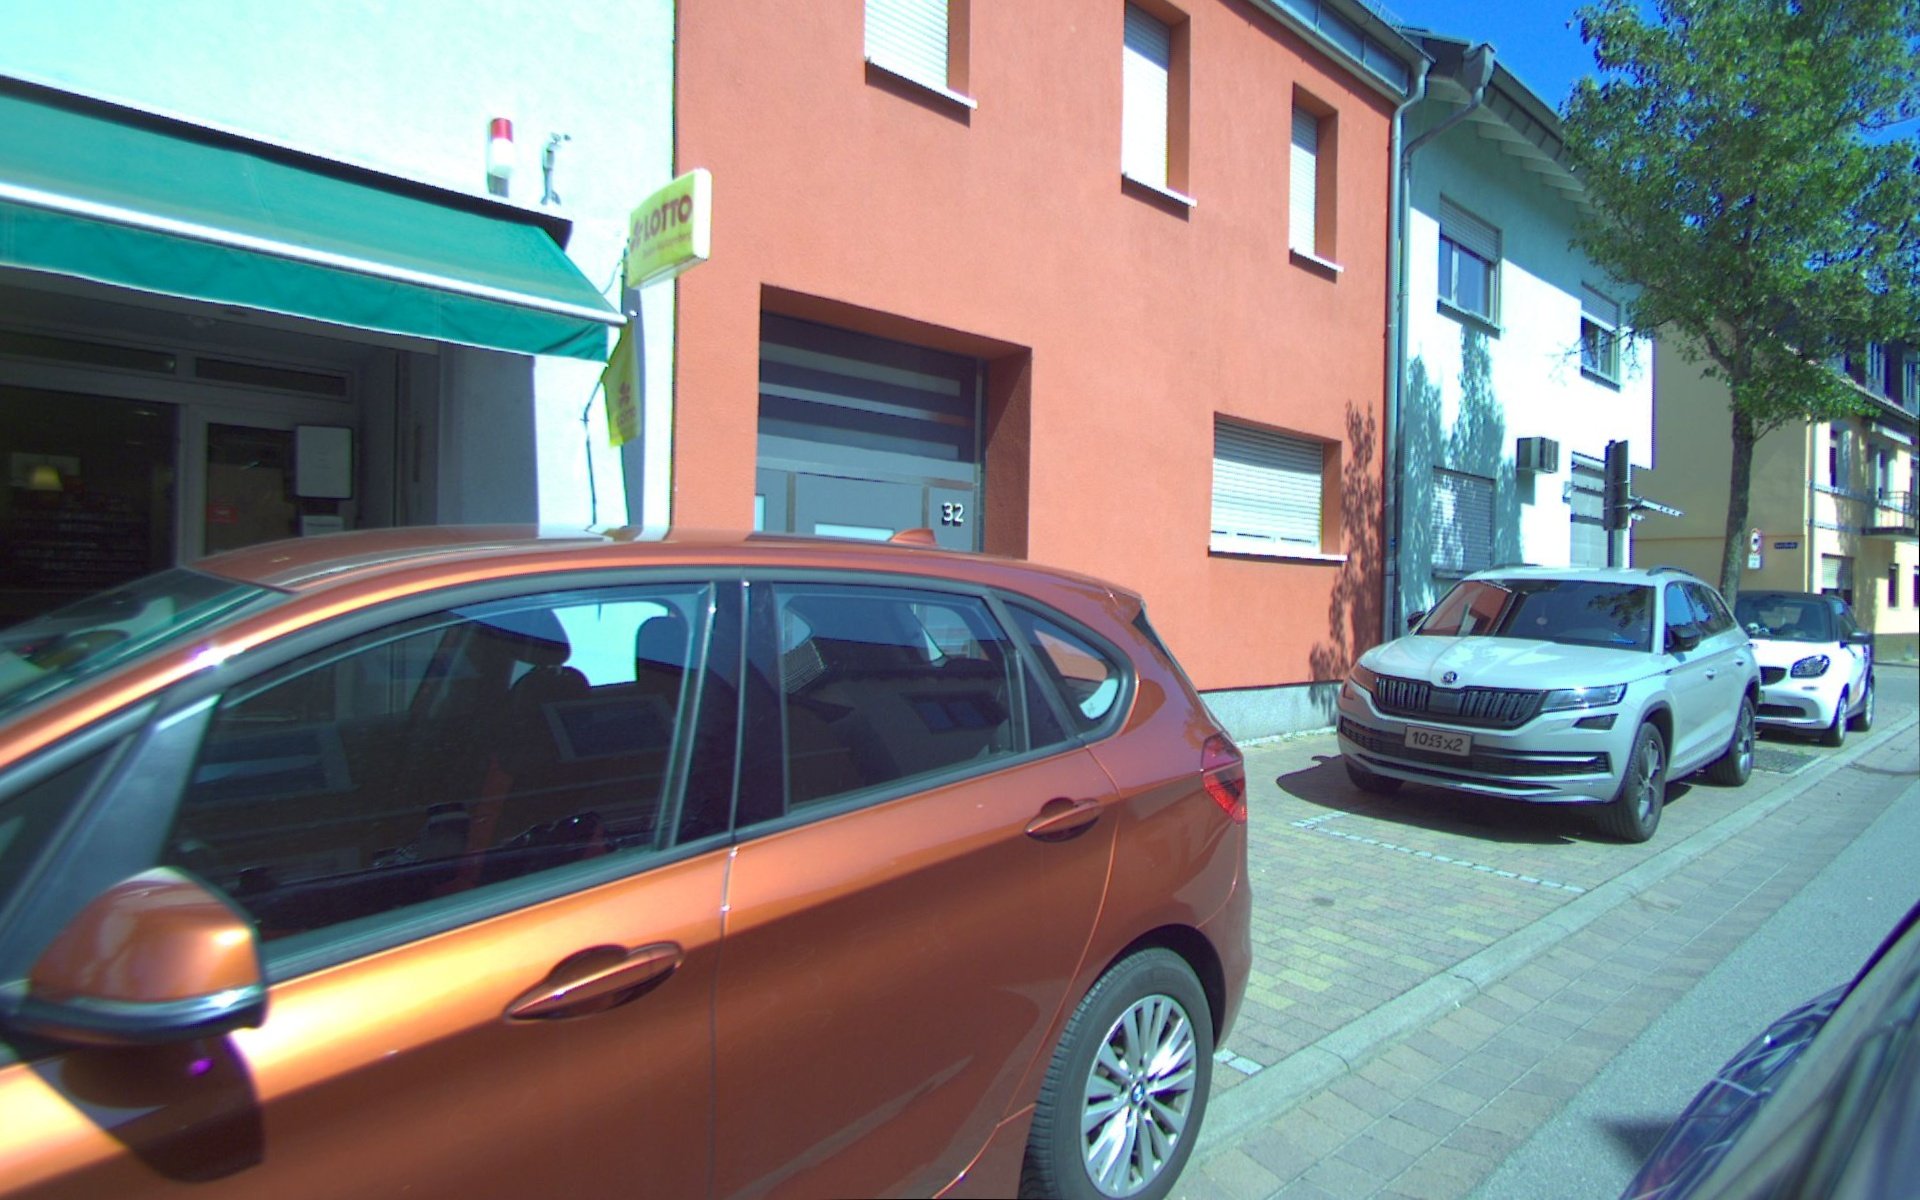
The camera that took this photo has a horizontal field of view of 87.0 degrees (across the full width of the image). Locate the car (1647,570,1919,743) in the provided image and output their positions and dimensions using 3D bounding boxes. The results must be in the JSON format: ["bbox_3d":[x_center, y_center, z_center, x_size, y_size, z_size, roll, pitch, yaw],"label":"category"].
[{"bbox_3d":[9.597,0.538,11.689,3.928,1.561,1.715,0,5,-41],"label":"car"}]

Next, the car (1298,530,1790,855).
[{"bbox_3d":[4.567,0.505,7.556,4.581,1.706,1.869,1,0,-42],"label":"car"}]

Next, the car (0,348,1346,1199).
[{"bbox_3d":[-1.103,0.524,2.047,4.017,1.608,1.833,1,2,-42],"label":"car"}]
